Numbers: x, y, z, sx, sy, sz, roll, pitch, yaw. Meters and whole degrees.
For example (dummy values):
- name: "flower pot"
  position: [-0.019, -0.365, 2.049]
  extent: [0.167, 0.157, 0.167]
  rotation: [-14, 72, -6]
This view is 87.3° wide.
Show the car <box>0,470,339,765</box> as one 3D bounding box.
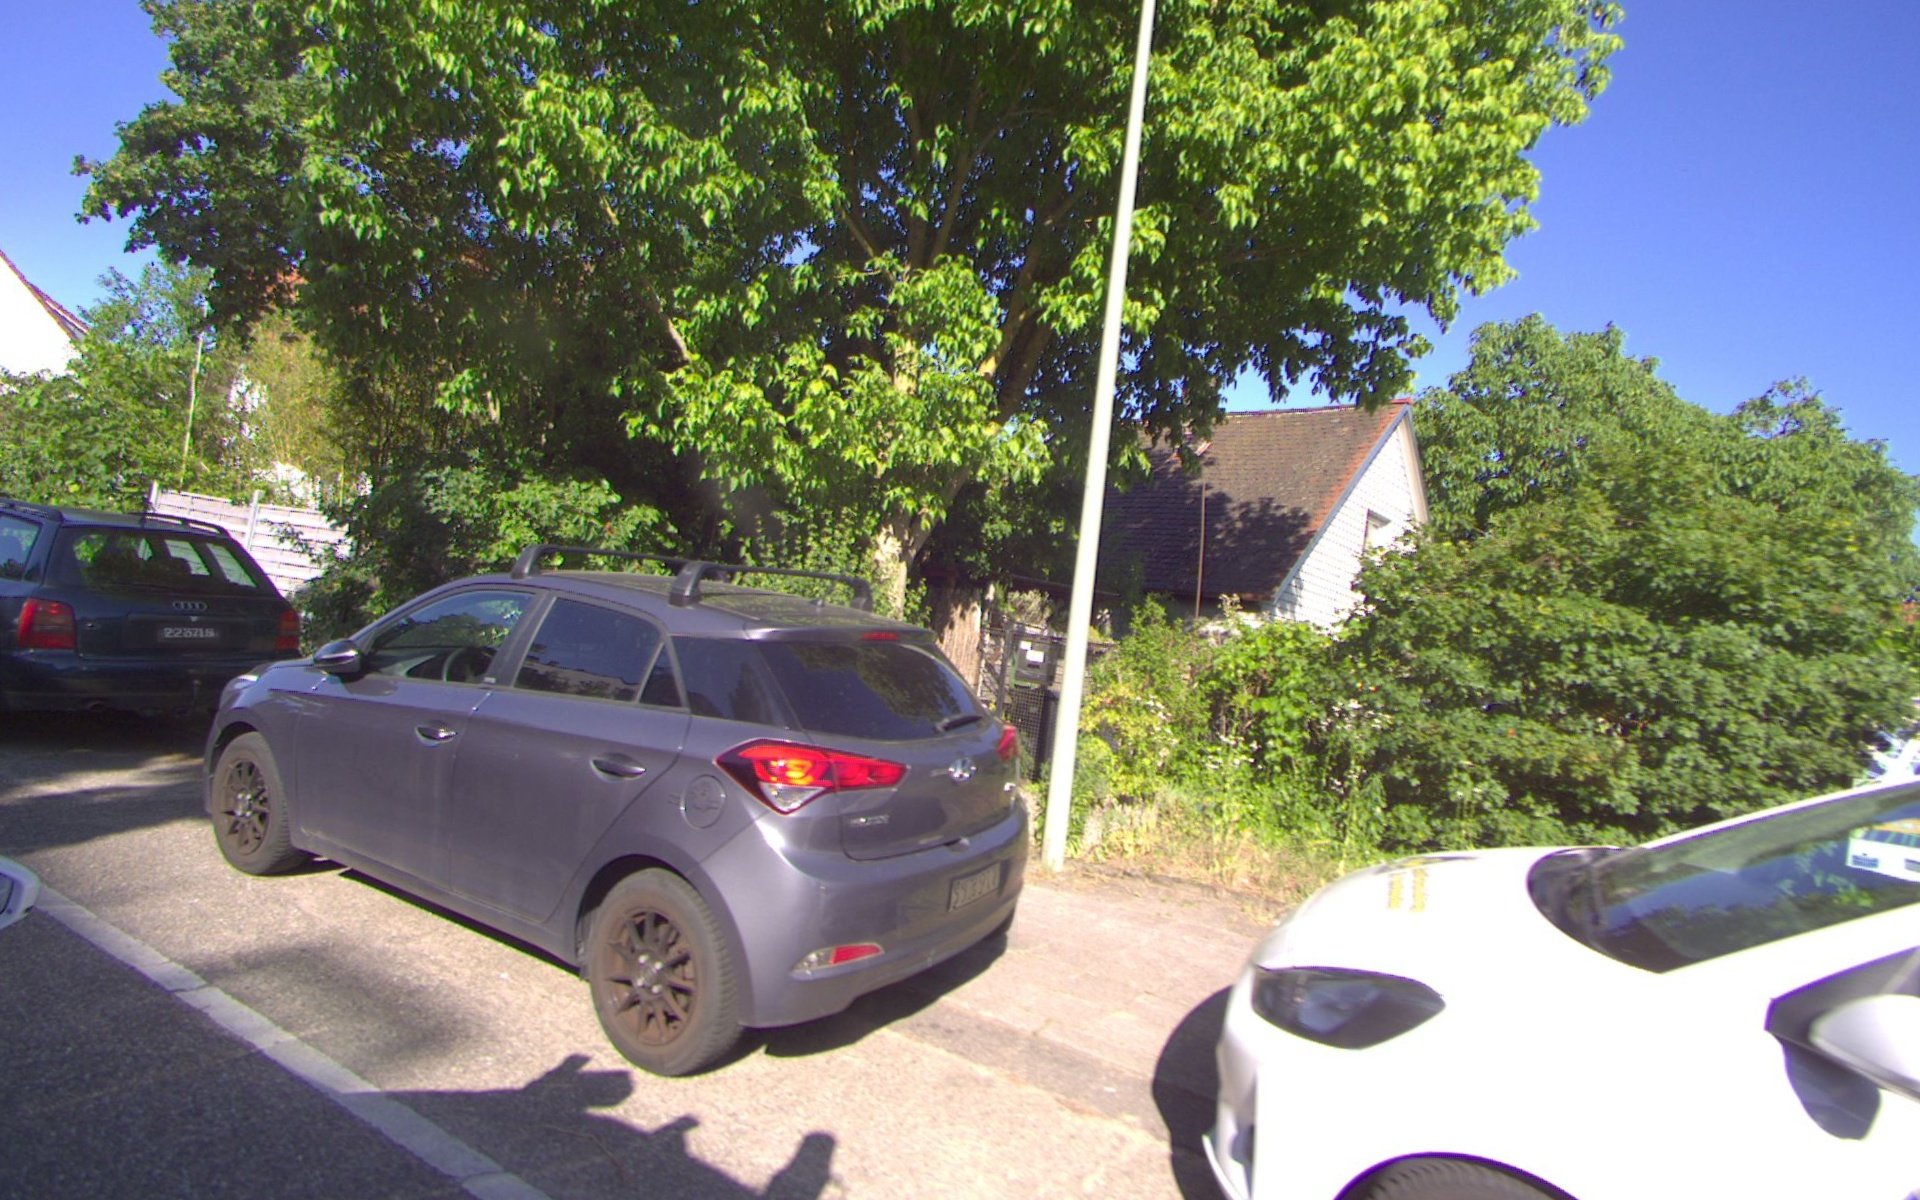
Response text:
- name: "car"
  position: [-6.655, -0.054, 7.172]
  extent: [4.387, 1.581, 1.659]
  rotation: [7, -2, 28]

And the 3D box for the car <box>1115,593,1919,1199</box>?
- name: "car"
  position: [2.379, 1.026, 2.021]
  extent: [3.643, 1.593, 1.634]
  rotation: [7, 1, 32]

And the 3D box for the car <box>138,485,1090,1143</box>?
- name: "car"
  position: [-1.656, 0.527, 4.458]
  extent: [3.932, 1.593, 1.721]
  rotation: [7, 0, 30]
